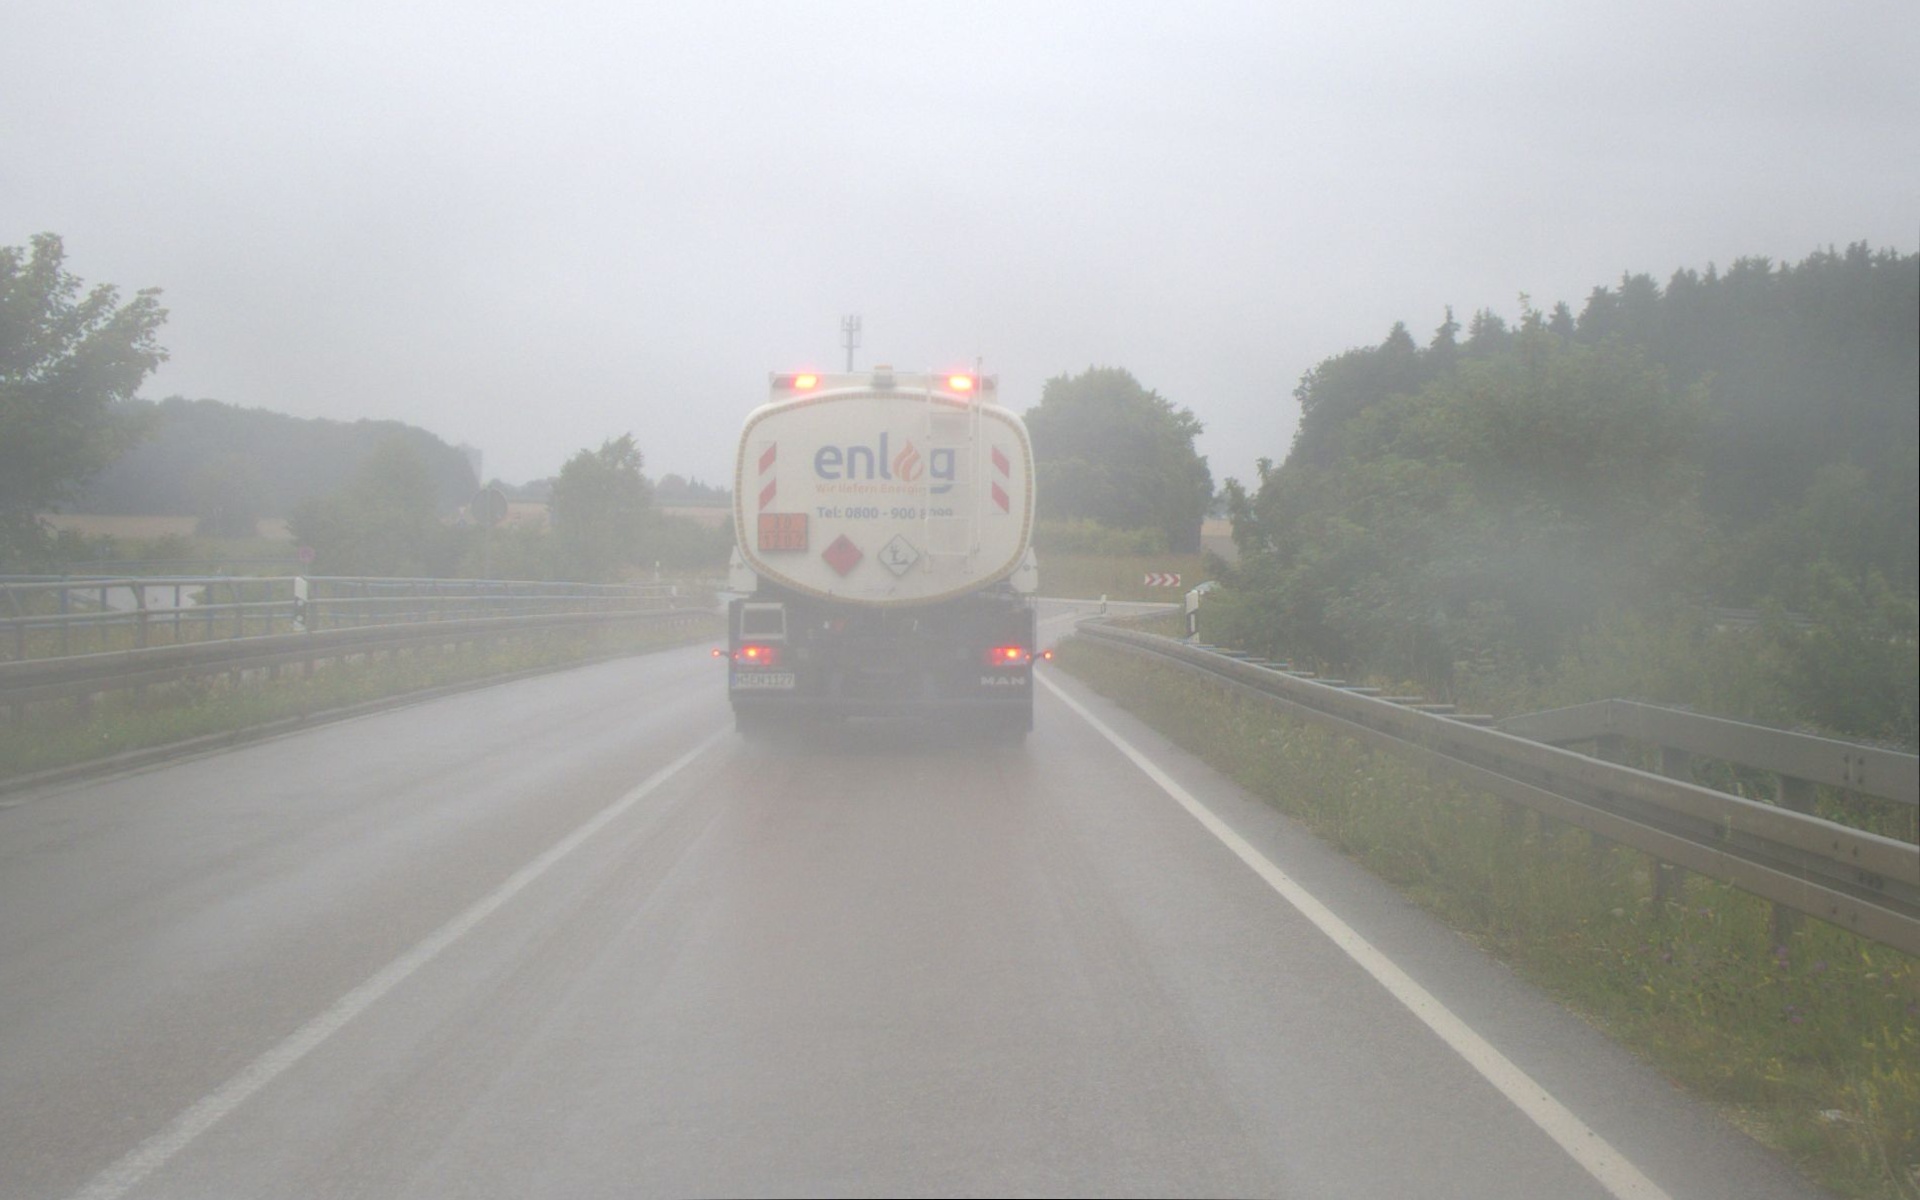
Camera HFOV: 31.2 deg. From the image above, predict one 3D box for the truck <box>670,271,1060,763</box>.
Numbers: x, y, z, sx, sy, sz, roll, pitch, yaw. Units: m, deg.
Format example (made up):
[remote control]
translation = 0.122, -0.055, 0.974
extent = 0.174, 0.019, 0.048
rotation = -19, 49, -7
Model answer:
[truck]
translation = -0.713, -0.703, 31.324
extent = 3.039, 3.838, 8.822
rotation = 0, 1, 0
